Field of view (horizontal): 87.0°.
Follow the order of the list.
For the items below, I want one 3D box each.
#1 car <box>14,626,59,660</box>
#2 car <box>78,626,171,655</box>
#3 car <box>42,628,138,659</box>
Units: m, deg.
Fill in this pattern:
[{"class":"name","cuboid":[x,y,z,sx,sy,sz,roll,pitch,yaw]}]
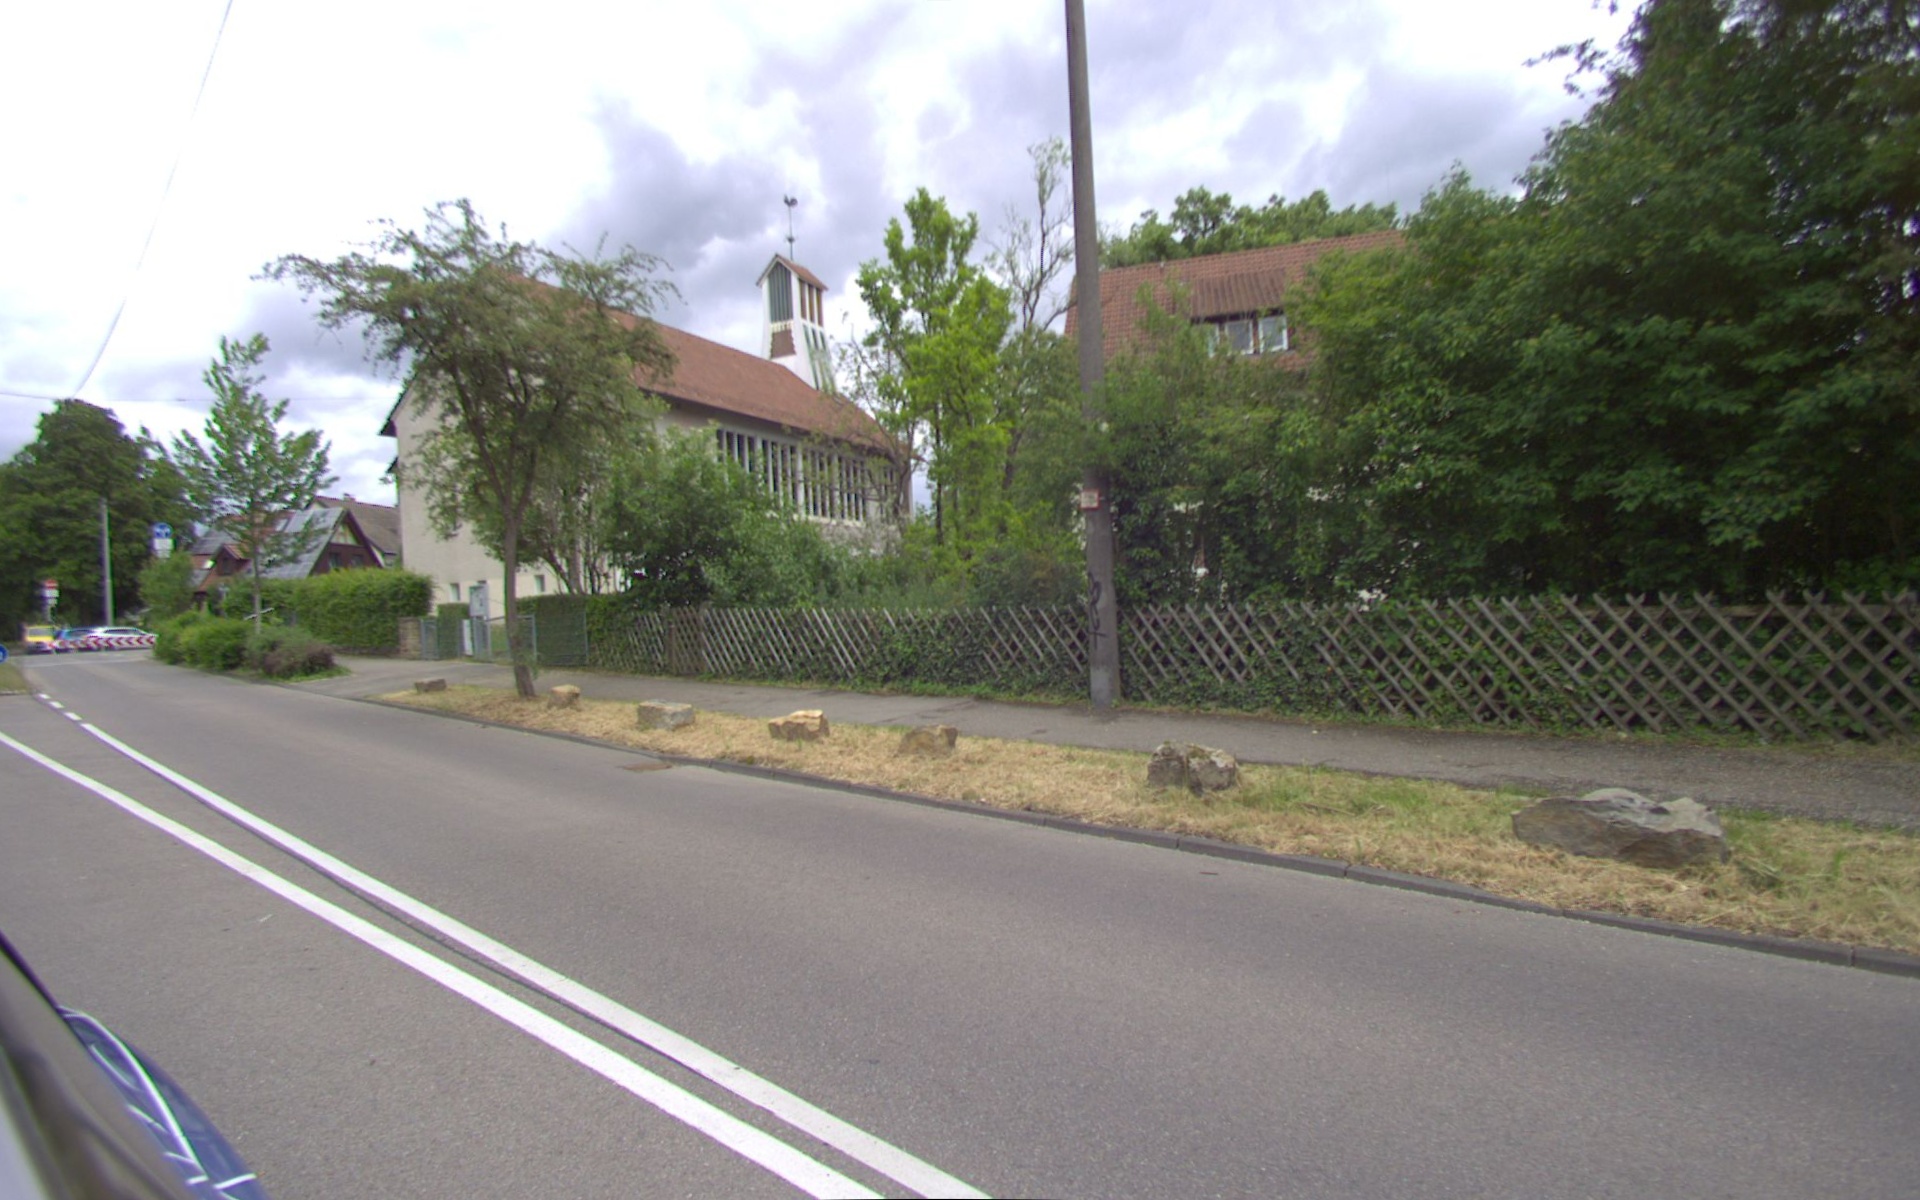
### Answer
[{"class":"car","cuboid":[-58.915,2.743,64.518,1.894,2.004,4.803,-2,-1,-45]},{"class":"car","cuboid":[-49.223,2.388,59.706,1.840,1.483,3.862,-4,-1,33]},{"class":"car","cuboid":[-51.890,2.565,60.406,1.844,1.558,4.123,-4,-1,40]}]
